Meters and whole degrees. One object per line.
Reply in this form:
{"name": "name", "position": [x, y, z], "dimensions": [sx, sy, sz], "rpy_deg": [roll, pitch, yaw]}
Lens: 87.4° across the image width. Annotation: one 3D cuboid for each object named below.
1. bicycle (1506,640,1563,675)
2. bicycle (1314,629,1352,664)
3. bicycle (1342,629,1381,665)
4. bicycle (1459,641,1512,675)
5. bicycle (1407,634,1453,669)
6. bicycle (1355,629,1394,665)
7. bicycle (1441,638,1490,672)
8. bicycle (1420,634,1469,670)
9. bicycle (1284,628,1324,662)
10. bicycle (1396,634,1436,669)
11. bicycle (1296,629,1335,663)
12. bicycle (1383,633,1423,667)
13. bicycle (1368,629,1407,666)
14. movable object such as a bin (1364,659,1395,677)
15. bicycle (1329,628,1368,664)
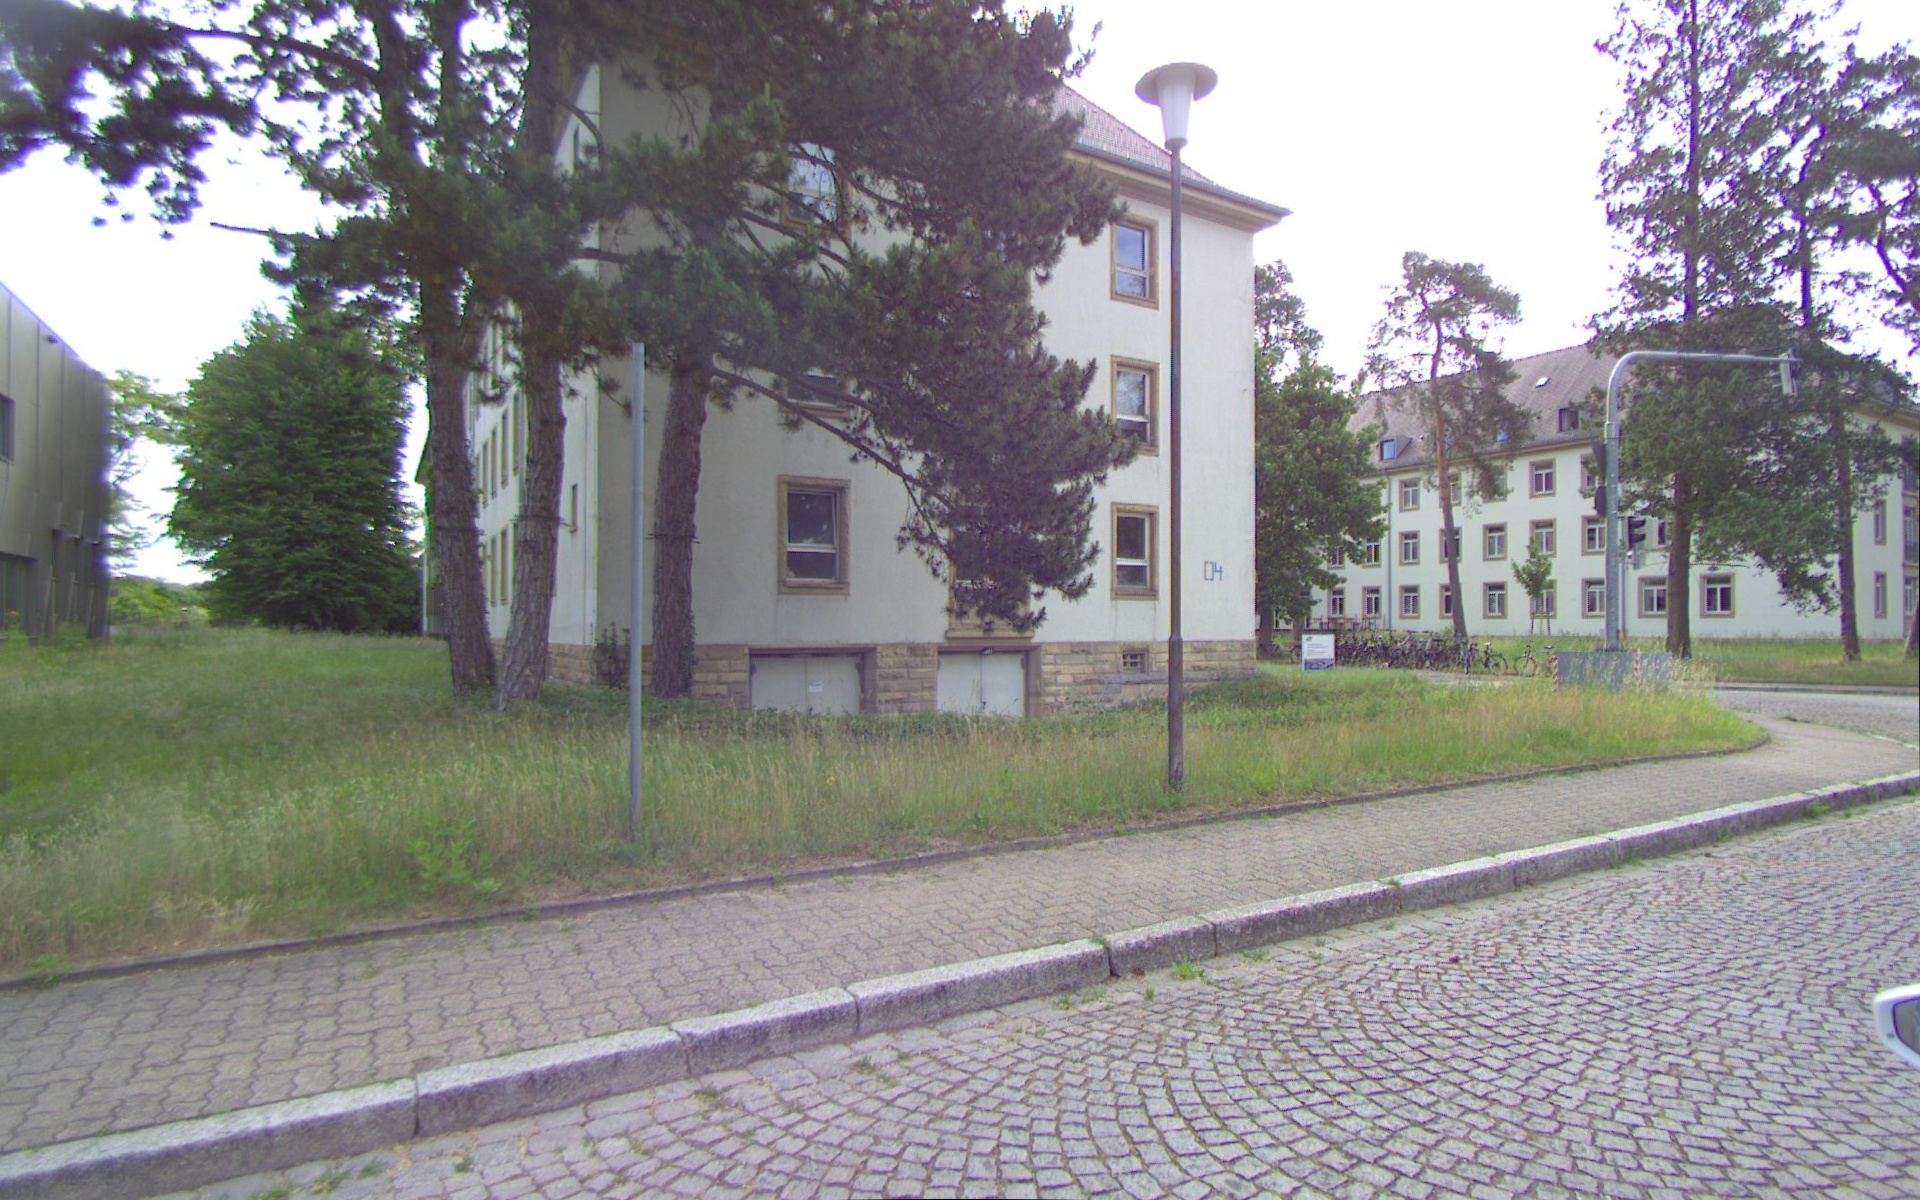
{"name": "bicycle", "position": [17.312, 1.715, 30.301], "dimensions": [0.447, 1.009, 1.453], "rpy_deg": [1, -2, -29]}
{"name": "bicycle", "position": [14.165, 1.763, 38.101], "dimensions": [1.677, 1.300, 0.446], "rpy_deg": [1, -2, -33]}
{"name": "bicycle", "position": [14.833, 1.711, 37.074], "dimensions": [1.677, 1.300, 0.446], "rpy_deg": [1, -2, -33]}
{"name": "bicycle", "position": [16.516, 1.807, 31.599], "dimensions": [0.447, 1.009, 1.453], "rpy_deg": [1, -2, -29]}
{"name": "bicycle", "position": [16.269, 1.768, 34.758], "dimensions": [1.909, 1.193, 0.524], "rpy_deg": [1, -2, -33]}
{"name": "bicycle", "position": [15.131, 1.712, 36.655], "dimensions": [1.677, 1.300, 0.446], "rpy_deg": [1, -2, -33]}
{"name": "bicycle", "position": [16.960, 1.829, 33.686], "dimensions": [1.975, 1.092, 0.571], "rpy_deg": [1, -2, -33]}
{"name": "bicycle", "position": [16.527, 1.767, 34.232], "dimensions": [1.933, 1.193, 0.571], "rpy_deg": [1, -2, -33]}
{"name": "bicycle", "position": [13.487, 1.763, 39.349], "dimensions": [1.808, 1.300, 0.446], "rpy_deg": [1, -2, -33]}
{"name": "bicycle", "position": [15.960, 1.779, 35.168], "dimensions": [1.677, 1.193, 0.446], "rpy_deg": [1, -2, -33]}
{"name": "bicycle", "position": [13.834, 1.774, 39.020], "dimensions": [1.766, 1.300, 0.440], "rpy_deg": [1, -2, -33]}
{"name": "bicycle", "position": [15.696, 1.765, 35.575], "dimensions": [1.677, 1.193, 0.446], "rpy_deg": [1, -2, -33]}
{"name": "bicycle", "position": [15.423, 1.714, 36.243], "dimensions": [1.677, 1.300, 0.446], "rpy_deg": [1, -2, -33]}
{"name": "movable object such as a bin", "position": [12.775, 2.067, 30.586], "dimensions": [0.440, 0.510, 0.746], "rpy_deg": [1, -2, -31]}
{"name": "bicycle", "position": [14.526, 1.710, 37.545], "dimensions": [1.677, 1.300, 0.446], "rpy_deg": [1, -2, -33]}
